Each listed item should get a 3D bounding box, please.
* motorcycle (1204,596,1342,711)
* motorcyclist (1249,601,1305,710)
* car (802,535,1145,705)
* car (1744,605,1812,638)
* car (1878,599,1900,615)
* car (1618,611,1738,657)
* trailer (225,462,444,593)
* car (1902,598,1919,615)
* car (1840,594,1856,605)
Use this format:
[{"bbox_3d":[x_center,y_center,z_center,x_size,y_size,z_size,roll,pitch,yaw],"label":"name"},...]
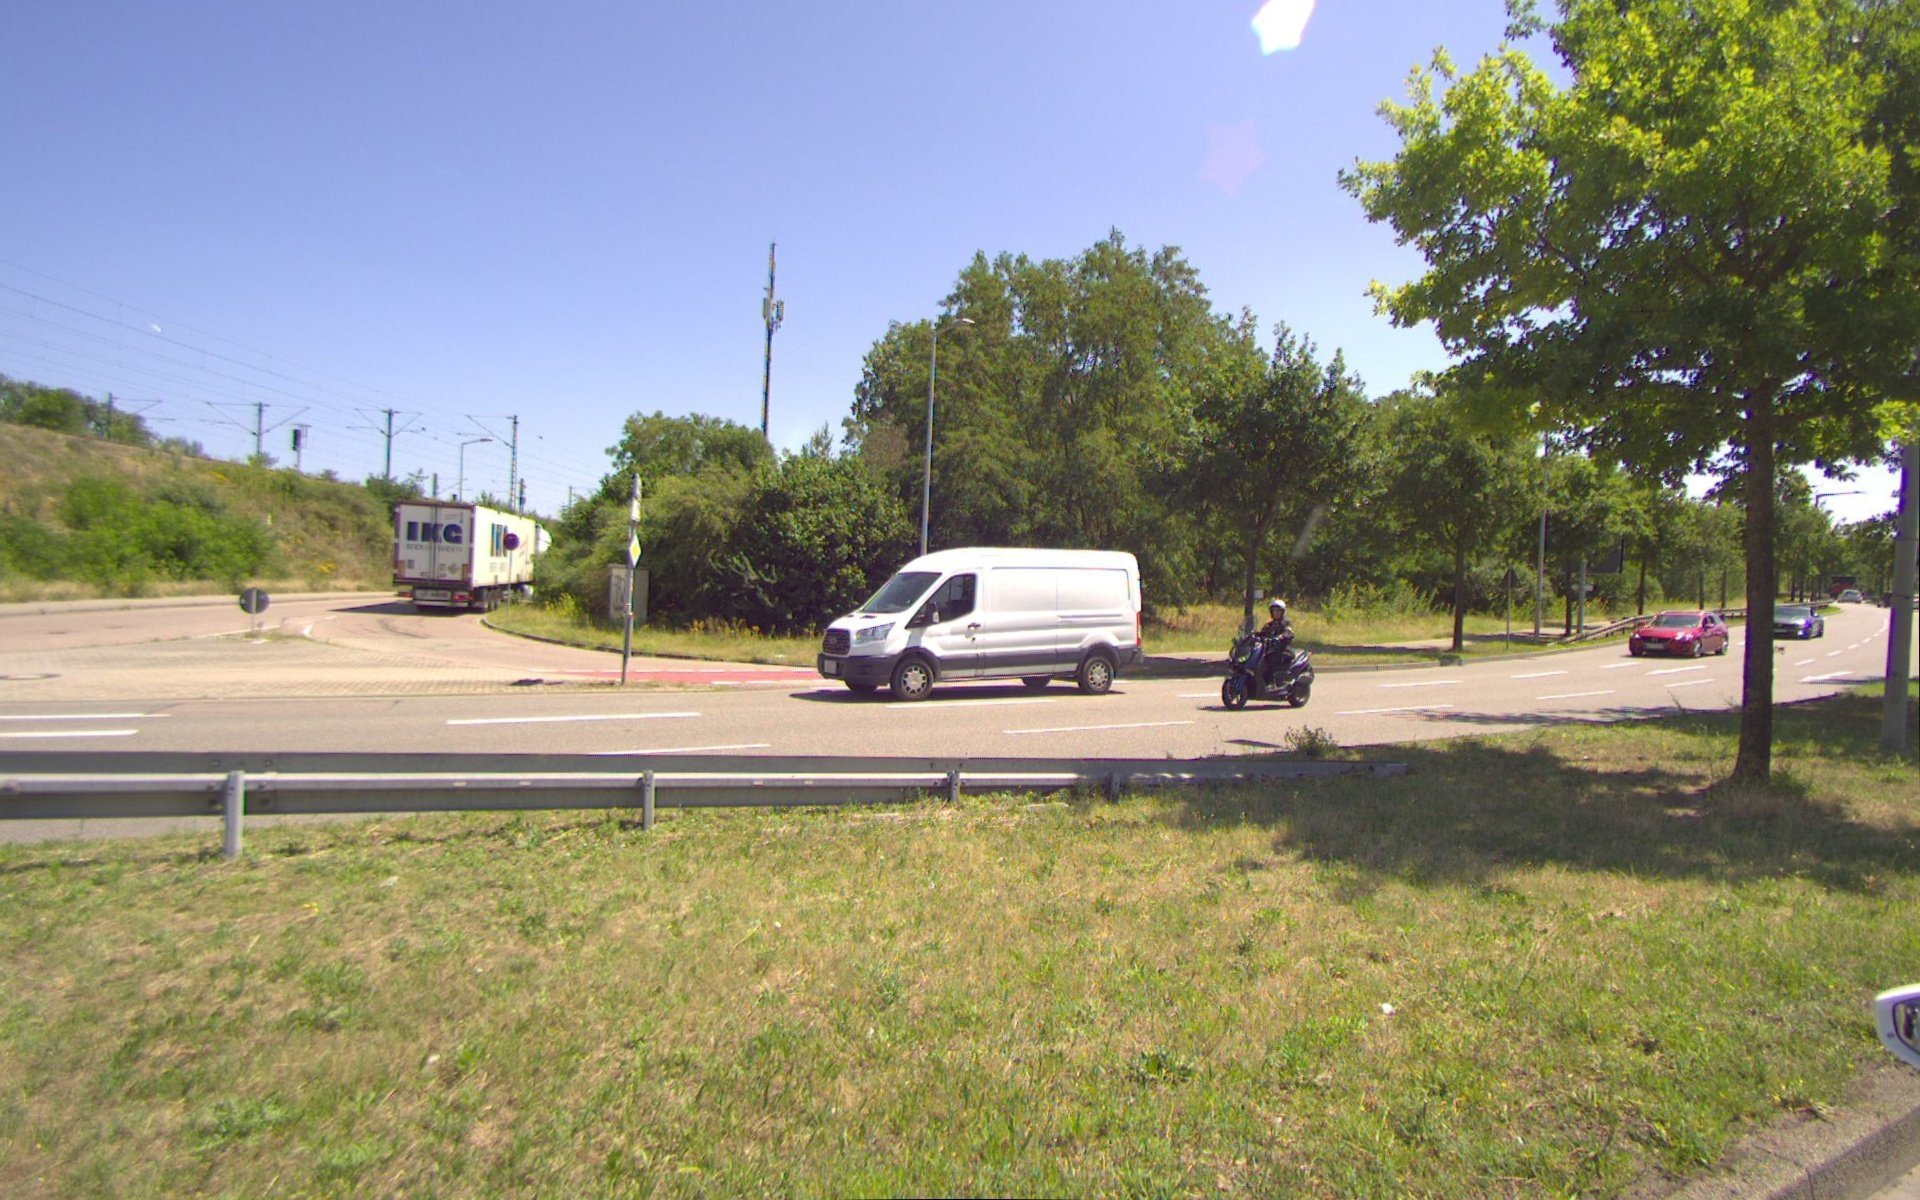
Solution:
[{"bbox_3d":[4.927,0.827,15.727,2.398,1.700,0.594,2,0,-32],"label":"motorcycle"},{"bbox_3d":[4.970,0.856,15.752,0.557,1.648,0.583,2,0,-37],"label":"motorcyclist"},{"bbox_3d":[0.339,0.298,17.367,5.744,2.534,2.083,0,0,-32],"label":"car"},{"bbox_3d":[36.611,0.963,44.933,4.538,1.351,1.792,2,0,-44],"label":"car"},{"bbox_3d":[87.084,0.667,94.176,1.401,1.331,3.320,2,0,42],"label":"car"},{"bbox_3d":[24.057,1.158,33.606,4.478,1.456,1.820,2,-2,-34],"label":"car"},{"bbox_3d":[-23.146,-2.342,38.307,2.969,4.104,12.674,0,0,-12],"label":"trailer"},{"bbox_3d":[79.807,0.593,83.977,1.440,1.331,3.619,2,0,41],"label":"car"},{"bbox_3d":[100.046,-0.024,113.154,1.306,1.154,2.980,2,0,41],"label":"car"}]
